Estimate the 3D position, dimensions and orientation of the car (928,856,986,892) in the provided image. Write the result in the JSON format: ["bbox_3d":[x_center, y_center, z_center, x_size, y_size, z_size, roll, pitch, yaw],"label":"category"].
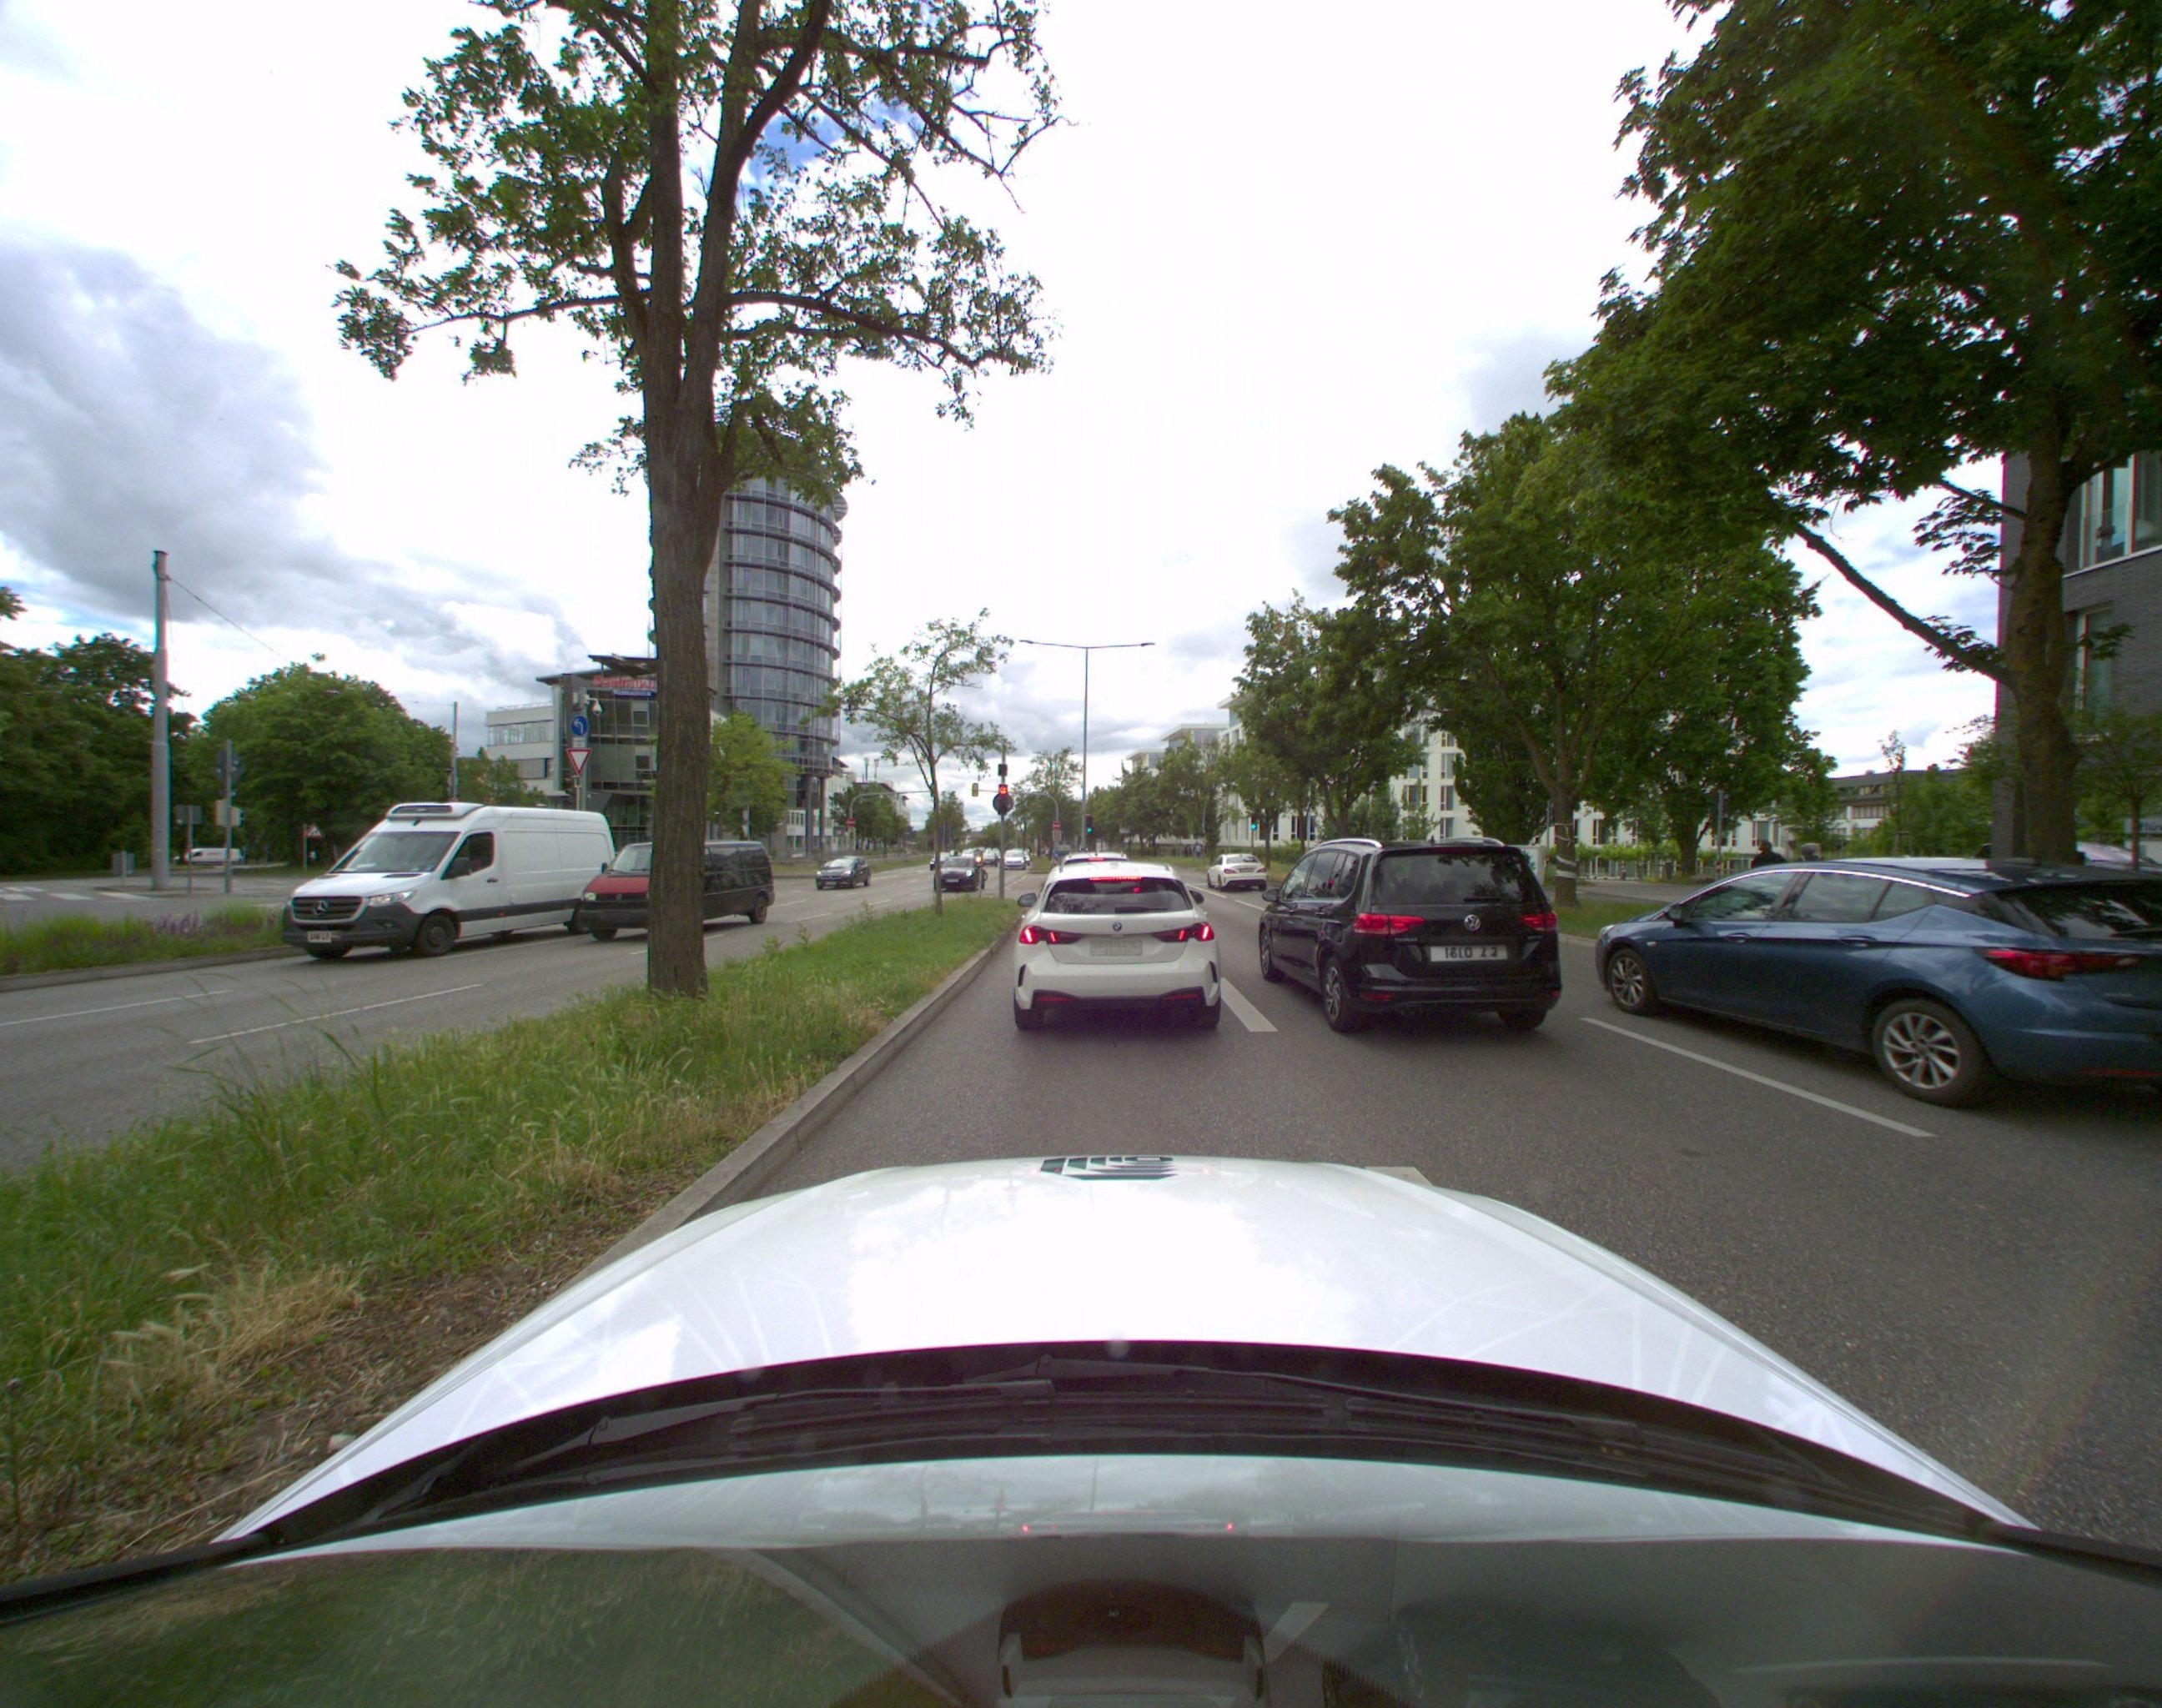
[{"bbox_3d":[-5.169,0.798,34.406,1.747,1.371,3.781,-1,0,2],"label":"car"}]

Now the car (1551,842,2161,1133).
[{"bbox_3d":[5.870,0.670,6.334,1.960,1.439,4.313,-2,0,1],"label":"car"}]

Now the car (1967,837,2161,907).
[{"bbox_3d":[25.007,0.407,20.159,1.817,1.552,4.183,0,0,4],"label":"car"}]

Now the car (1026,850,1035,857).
[{"bbox_3d":[-11.669,-0.172,188.282,1.988,1.490,3.999,1,0,-1],"label":"car"}]

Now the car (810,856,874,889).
[{"bbox_3d":[-11.076,0.801,38.018,1.701,1.419,4.020,-1,0,1],"label":"car"}]

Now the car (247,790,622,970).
[{"bbox_3d":[-11.375,0.375,15.160,1.985,2.634,5.879,-2,0,3],"label":"car"}]

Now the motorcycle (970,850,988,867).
[{"bbox_3d":[-8.468,0.388,67.951,0.886,1.398,4.002,0,0,2],"label":"motorcycle"}]

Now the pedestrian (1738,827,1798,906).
[{"bbox_3d":[13.803,0.240,16.376,0.721,1.552,0.588,0,0,7],"label":"pedestrian"}]

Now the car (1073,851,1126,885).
[{"bbox_3d":[0.900,0.618,37.333,1.983,1.508,4.008,0,0,7],"label":"car"}]

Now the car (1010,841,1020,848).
[{"bbox_3d":[-15.619,-2.169,192.285,1.986,1.618,4.002,2,0,2],"label":"car"}]

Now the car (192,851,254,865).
[{"bbox_3d":[-127.352,0.530,120.980,1.977,2.013,6.012,0,0,19],"label":"car"}]

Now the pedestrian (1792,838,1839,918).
[{"bbox_3d":[14.564,0.473,16.152,0.407,1.552,0.563,3,-1,7],"label":"pedestrian"}]

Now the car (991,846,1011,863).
[{"bbox_3d":[-9.528,0.049,97.056,1.986,2.013,4.001,0,0,1],"label":"car"}]

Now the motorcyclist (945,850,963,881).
[{"bbox_3d":[-7.513,0.664,48.255,0.845,1.837,1.260,0,0,2],"label":"motorcyclist"}]

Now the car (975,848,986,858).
[{"bbox_3d":[-21.131,-0.174,171.434,1.988,2.011,4.322,0,0,-1],"label":"car"}]

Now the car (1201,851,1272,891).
[{"bbox_3d":[6.051,0.637,32.184,1.789,1.472,4.696,0,0,-2],"label":"car"}]

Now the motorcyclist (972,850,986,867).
[{"bbox_3d":[-8.469,0.371,67.838,0.906,1.392,1.674,0,0,2],"label":"motorcyclist"}]

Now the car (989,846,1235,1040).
[{"bbox_3d":[0.381,0.676,8.155,1.855,1.449,4.004,0,0,4],"label":"car"}]

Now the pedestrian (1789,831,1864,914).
[{"bbox_3d":[15.052,0.370,16.459,0.586,1.551,0.745,10,1,7],"label":"pedestrian"}]

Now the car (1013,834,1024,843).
[{"bbox_3d":[-13.361,-3.320,174.838,1.988,2.011,4.322,2,0,-1],"label":"car"}]

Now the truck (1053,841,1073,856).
[{"bbox_3d":[-3.179,-0.870,141.098,2.857,2.519,6.270,0,0,-8],"label":"truck"}]

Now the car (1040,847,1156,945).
[{"bbox_3d":[0.386,0.732,15.976,1.985,1.672,4.003,0,0,3],"label":"car"}]

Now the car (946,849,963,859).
[{"bbox_3d":[-18.095,0.034,116.901,1.701,1.419,3.804,-1,0,2],"label":"car"}]

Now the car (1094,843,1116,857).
[{"bbox_3d":[2.812,-0.415,94.576,1.992,1.596,3.990,0,0,-7],"label":"car"}]

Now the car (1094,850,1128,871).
[{"bbox_3d":[2.241,0.459,63.141,2.049,1.486,4.966,-3,0,-4],"label":"car"}]

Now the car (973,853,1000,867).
[{"bbox_3d":[-9.041,0.568,78.002,1.986,1.354,4.002,0,0,2],"label":"car"}]

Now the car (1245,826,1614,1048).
[{"bbox_3d":[3.060,0.618,8.302,1.960,1.640,4.313,-1,0,1],"label":"car"}]

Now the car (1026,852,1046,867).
[{"bbox_3d":[-4.526,0.532,81.974,1.661,1.405,4.002,0,0,2],"label":"car"}]

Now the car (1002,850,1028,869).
[{"bbox_3d":[-5.381,0.416,66.668,1.701,1.497,3.804,-1,0,2],"label":"car"}]

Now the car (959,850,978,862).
[{"bbox_3d":[-14.137,0.220,102.533,1.701,1.419,3.804,-1,0,2],"label":"car"}]

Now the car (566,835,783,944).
[{"bbox_3d":[-8.290,0.642,17.283,1.928,1.918,4.975,-2,0,2],"label":"car"}]

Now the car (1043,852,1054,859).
[{"bbox_3d":[-6.397,0.276,158.479,1.991,1.508,3.993,0,0,-5],"label":"car"}]

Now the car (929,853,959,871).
[{"bbox_3d":[-11.527,0.648,68.734,1.701,1.419,3.804,-1,0,2],"label":"car"}]
